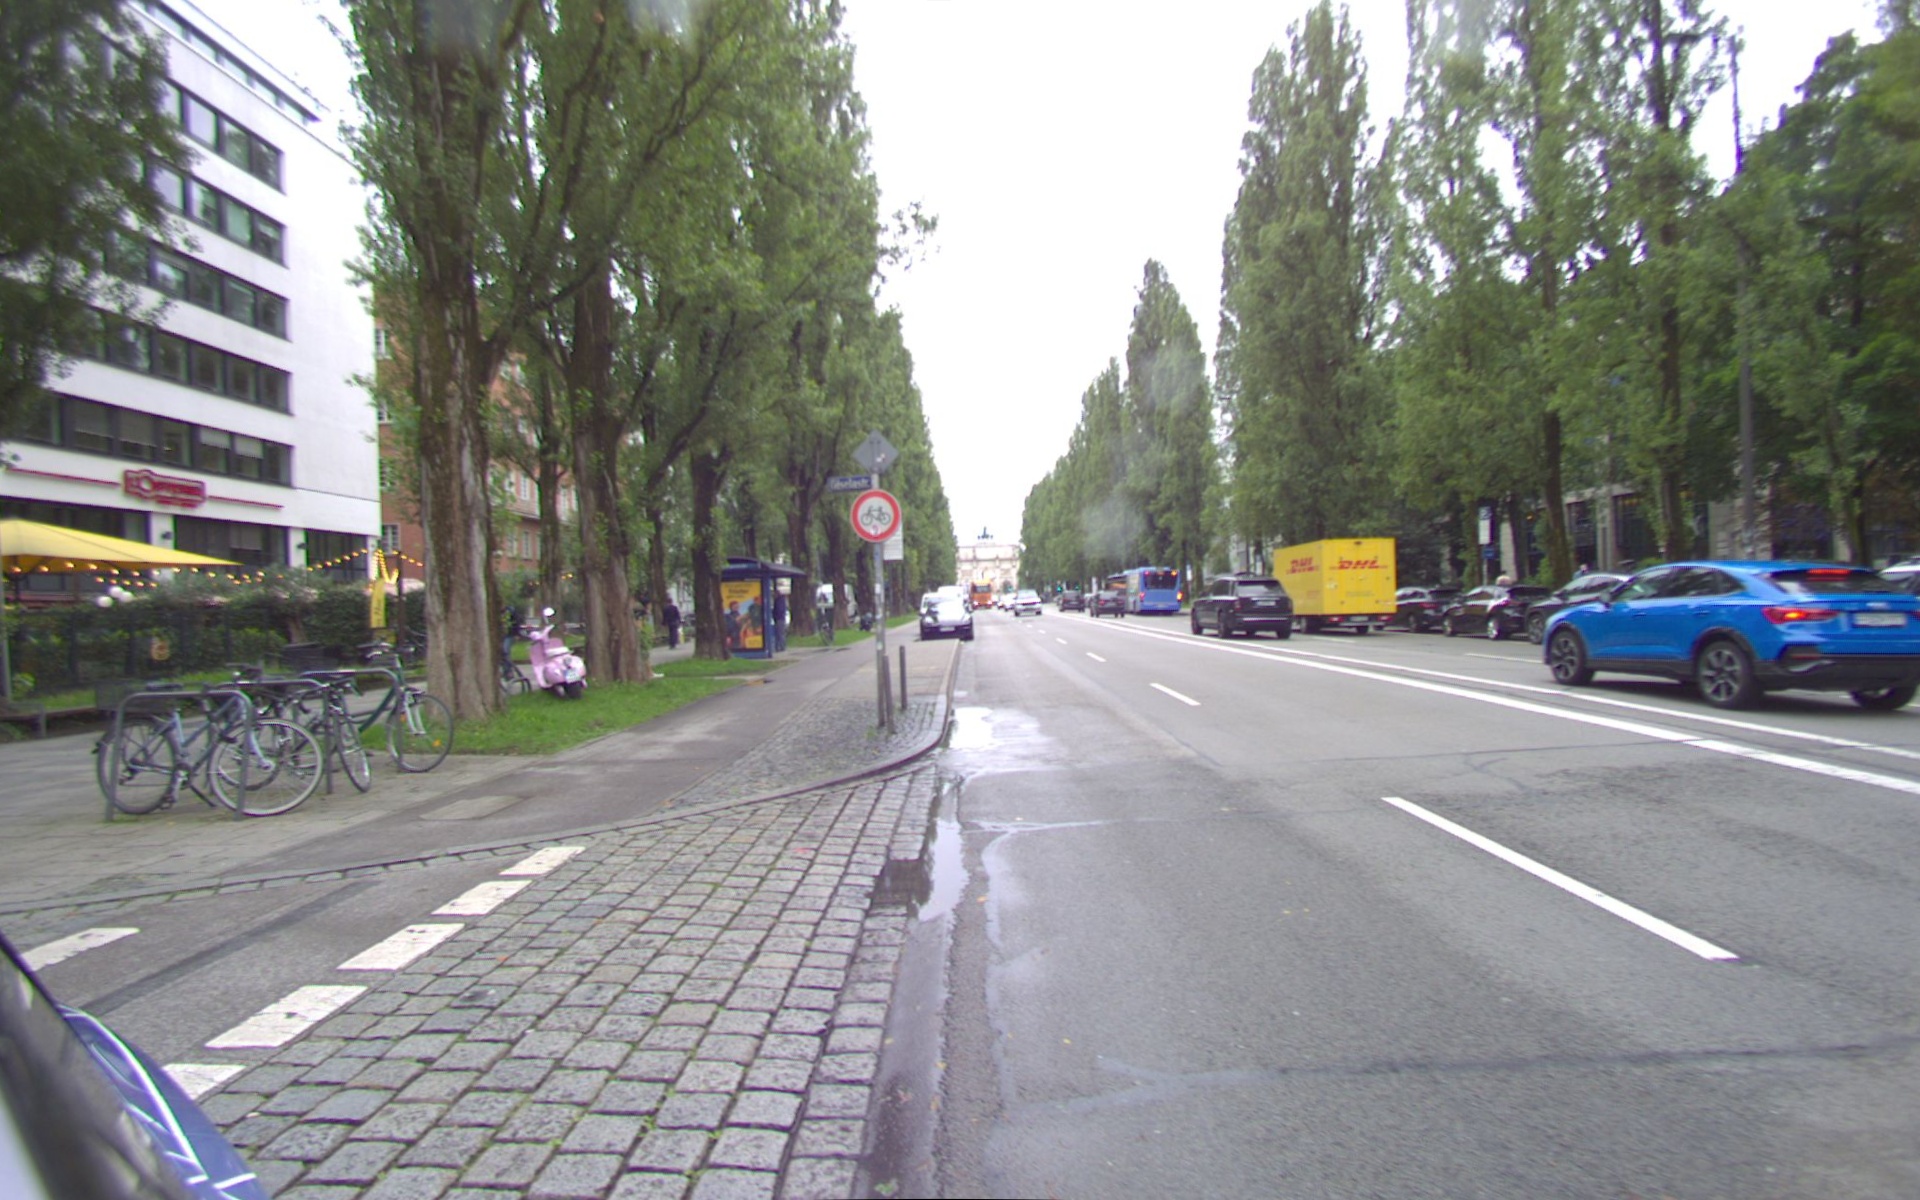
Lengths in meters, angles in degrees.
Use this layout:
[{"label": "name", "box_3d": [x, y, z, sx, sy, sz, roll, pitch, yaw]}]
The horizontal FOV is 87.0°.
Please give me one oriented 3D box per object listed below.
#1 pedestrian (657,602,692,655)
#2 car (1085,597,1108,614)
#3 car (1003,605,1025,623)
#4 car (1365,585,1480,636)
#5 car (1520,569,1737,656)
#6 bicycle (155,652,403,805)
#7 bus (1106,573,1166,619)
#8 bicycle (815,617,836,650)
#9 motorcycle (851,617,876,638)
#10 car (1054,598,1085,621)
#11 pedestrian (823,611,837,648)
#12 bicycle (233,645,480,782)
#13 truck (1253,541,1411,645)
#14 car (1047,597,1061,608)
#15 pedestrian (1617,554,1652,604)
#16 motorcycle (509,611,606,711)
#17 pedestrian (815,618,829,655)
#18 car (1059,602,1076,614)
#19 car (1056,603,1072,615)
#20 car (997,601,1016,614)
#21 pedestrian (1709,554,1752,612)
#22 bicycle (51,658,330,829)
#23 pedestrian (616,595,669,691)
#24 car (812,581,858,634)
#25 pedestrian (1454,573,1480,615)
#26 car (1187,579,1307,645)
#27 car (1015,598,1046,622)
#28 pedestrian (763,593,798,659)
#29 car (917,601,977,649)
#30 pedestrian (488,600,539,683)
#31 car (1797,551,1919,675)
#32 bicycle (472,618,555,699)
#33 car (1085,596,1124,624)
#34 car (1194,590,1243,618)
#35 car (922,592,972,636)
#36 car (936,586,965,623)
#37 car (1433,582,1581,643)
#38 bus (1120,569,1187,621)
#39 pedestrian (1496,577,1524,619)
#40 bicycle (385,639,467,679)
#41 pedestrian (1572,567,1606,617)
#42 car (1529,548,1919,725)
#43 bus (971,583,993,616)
[{"label": "pedestrian", "box_3d": [-9.468, 0.942, 33.587, 0.879, 1.705, 0.767, -2, 0, 5]}, {"label": "car", "box_3d": [15.156, 0.589, 112.586, 1.973, 1.735, 4.813, -1, 0, 1]}, {"label": "car", "box_3d": [5.287, 1.368, 99.703, 1.985, 1.592, 3.998, -2, 0, 1]}, {"label": "car", "box_3d": [14.320, 0.320, 31.577, 1.769, 1.422, 3.880, -2, 0, 1]}, {"label": "car", "box_3d": [14.077, 0.254, 21.653, 1.769, 1.613, 4.236, -2, 0, 1]}, {"label": "bicycle", "box_3d": [-5.345, 0.999, 7.972, 1.682, 1.101, 0.491, -2, 0, 6]}, {"label": "bus", "box_3d": [12.755, -0.218, 74.172, 2.887, 3.075, 9.790, -2, -1, 2]}, {"label": "bicycle", "box_3d": [-4.520, 1.111, 34.084, 0.546, 1.030, 1.764, -2, 0, -3]}, {"label": "motorcycle", "box_3d": [-4.596, 1.314, 48.035, 0.459, 0.945, 1.667, -2, 0, -32]}, {"label": "car", "box_3d": [8.623, 0.740, 80.184, 1.973, 1.735, 4.813, -1, 0, 1]}, {"label": "pedestrian", "box_3d": [-6.103, 1.401, 47.668, 0.511, 1.705, 0.486, -2, 0, 5]}, {"label": "bicycle", "box_3d": [-5.324, 0.996, 8.955, 1.959, 1.101, 0.491, -2, 0, 6]}, {"label": "truck", "box_3d": [11.835, -0.202, 32.963, 2.566, 2.929, 7.077, -2, 0, 1]}, {"label": "car", "box_3d": [16.023, 0.463, 172.282, 1.973, 1.735, 4.346, -1, 0, 1]}, {"label": "pedestrian", "box_3d": [24.099, -0.733, 36.167, 0.699, 1.726, 0.731, -2, 0, 2]}, {"label": "motorcycle", "box_3d": [-5.806, 0.828, 14.524, 0.620, 1.204, 1.993, -2, 4, -43]}, {"label": "pedestrian", "box_3d": [-6.517, 1.722, 47.714, 0.511, 1.705, 0.486, -2, 0, 5]}, {"label": "car", "box_3d": [15.426, 1.128, 145.048, 1.973, 1.735, 4.346, -1, 0, 1]}, {"label": "car", "box_3d": [15.567, 1.267, 151.459, 1.973, 1.735, 4.346, -1, 0, 1]}, {"label": "car", "box_3d": [5.394, 0.866, 117.378, 1.624, 1.407, 4.004, -2, 0, -4]}, {"label": "pedestrian", "box_3d": [23.395, -0.508, 30.740, 0.699, 1.726, 0.731, -2, 0, 2]}, {"label": "bicycle", "box_3d": [-5.451, 1.007, 7.199, 1.682, 1.101, 0.491, -2, 0, 6]}, {"label": "pedestrian", "box_3d": [-6.022, 0.803, 19.227, 0.743, 1.786, 0.704, -1, 0, 5]}, {"label": "car", "box_3d": [-7.711, 0.453, 62.920, 2.168, 3.040, 6.002, -2, 0, -1]}, {"label": "pedestrian", "box_3d": [21.608, -0.249, 43.160, 0.699, 1.726, 0.731, -2, 0, 2]}, {"label": "car", "box_3d": [8.409, 0.352, 30.157, 1.971, 1.762, 5.065, -1, 0, -1]}, {"label": "car", "box_3d": [5.150, 0.703, 74.011, 1.985, 1.592, 3.998, -2, 0, 1]}, {"label": "pedestrian", "box_3d": [-5.177, 0.738, 29.262, 0.876, 1.857, 0.769, -2, 0, -7]}, {"label": "car", "box_3d": [-0.424, 0.869, 37.238, 1.985, 1.592, 3.998, -2, 0, 1]}, {"label": "pedestrian", "box_3d": [-9.405, 0.857, 21.344, 0.726, 1.705, 0.646, -2, 0, 5]}, {"label": "car", "box_3d": [14.449, 0.170, 14.298, 1.768, 1.745, 4.079, -1, 0, -1]}, {"label": "bicycle", "box_3d": [-7.122, 0.907, 16.206, 0.575, 1.197, 1.615, -2, 0, 0]}, {"label": "car", "box_3d": [8.405, 0.555, 59.104, 1.824, 1.538, 3.750, -1, 0, 2]}, {"label": "car", "box_3d": [14.719, 0.232, 57.757, 1.769, 1.422, 3.880, -2, 0, 1]}, {"label": "car", "box_3d": [-0.591, 0.655, 44.396, 1.984, 1.770, 4.001, -3, -2, -1]}, {"label": "car", "box_3d": [-0.669, 0.331, 77.093, 1.984, 2.652, 5.999, -2, 0, 0]}, {"label": "car", "box_3d": [14.251, 0.304, 26.638, 1.769, 1.422, 3.880, -2, 0, 1]}, {"label": "bus", "box_3d": [12.539, -0.239, 66.336, 2.888, 3.075, 8.512, -2, -1, 2]}, {"label": "pedestrian", "box_3d": [23.195, -0.081, 42.691, 0.699, 1.726, 0.731, -2, 0, 2]}, {"label": "bicycle", "box_3d": [-13.894, 1.530, 26.342, 1.776, 0.919, 0.620, -2, 0, -1]}, {"label": "pedestrian", "box_3d": [22.432, -0.278, 36.111, 0.699, 1.726, 0.731, -2, 0, 2]}, {"label": "car", "box_3d": [8.632, 0.335, 11.407, 1.845, 1.591, 4.423, -1, 0, -1]}, {"label": "bus", "box_3d": [2.923, 0.043, 134.676, 2.613, 4.143, 9.794, -2, -1, 0]}]
